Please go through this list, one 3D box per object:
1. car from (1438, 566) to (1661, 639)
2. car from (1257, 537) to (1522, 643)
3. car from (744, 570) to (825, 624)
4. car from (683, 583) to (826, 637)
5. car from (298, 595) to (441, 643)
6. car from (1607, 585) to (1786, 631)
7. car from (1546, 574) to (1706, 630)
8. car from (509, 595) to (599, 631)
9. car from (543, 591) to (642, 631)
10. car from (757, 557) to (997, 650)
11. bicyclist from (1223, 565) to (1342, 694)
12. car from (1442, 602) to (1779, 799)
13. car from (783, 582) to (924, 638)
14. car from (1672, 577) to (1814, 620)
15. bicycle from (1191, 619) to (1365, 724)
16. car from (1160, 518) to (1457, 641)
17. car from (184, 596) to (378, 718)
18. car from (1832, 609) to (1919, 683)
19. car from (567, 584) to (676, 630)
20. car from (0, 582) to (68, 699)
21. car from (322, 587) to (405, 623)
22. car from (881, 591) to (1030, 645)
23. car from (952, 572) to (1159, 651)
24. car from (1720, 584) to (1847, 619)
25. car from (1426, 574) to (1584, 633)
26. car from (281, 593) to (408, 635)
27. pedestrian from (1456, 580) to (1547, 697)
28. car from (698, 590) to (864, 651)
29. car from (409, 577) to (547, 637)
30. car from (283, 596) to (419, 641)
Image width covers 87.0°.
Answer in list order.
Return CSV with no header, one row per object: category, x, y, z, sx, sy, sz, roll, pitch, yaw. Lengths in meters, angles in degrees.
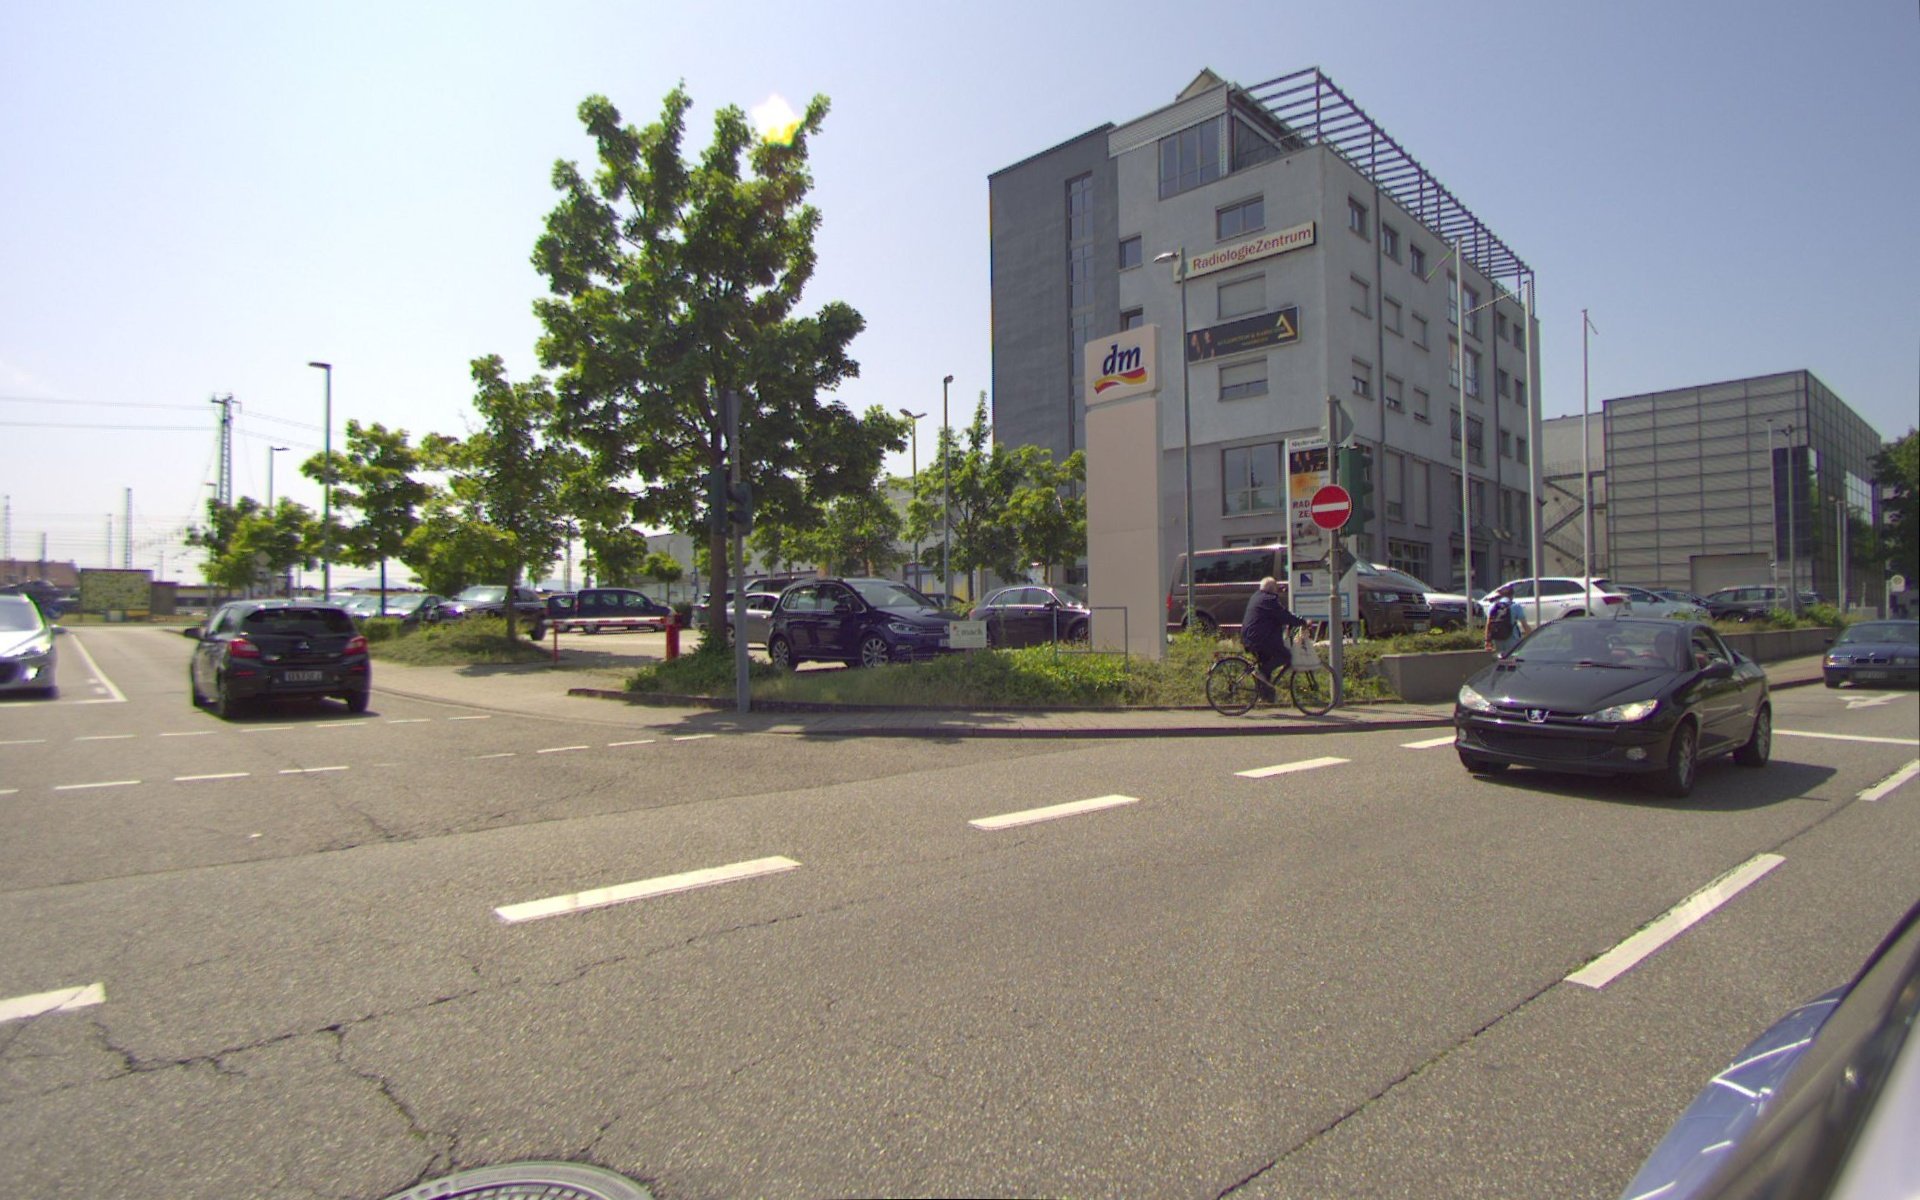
car,14.880,0.098,25.737,2.062,1.630,4.465,-1,-2,-44
car,8.505,-0.135,20.395,1.964,1.721,4.417,-1,-3,-39
car,-7.641,-0.100,43.920,3.358,2.222,1.675,0,-3,-13
car,-7.243,0.364,35.639,4.648,1.734,2.003,-1,-2,-22
car,-18.062,0.543,31.013,3.541,1.371,1.750,0,0,-41
car,25.393,0.304,35.032,1.770,1.399,4.749,0,-2,-44
car,20.542,0.088,31.274,3.975,1.505,1.735,-3,-2,37
car,-19.293,0.593,48.213,3.916,1.616,1.771,0,0,-22
car,-15.843,0.458,43.661,3.916,1.661,1.725,0,0,-22
car,-1.464,0.062,16.741,3.988,1.356,1.833,-1,0,45
bicyclist,3.906,0.348,12.299,1.068,1.483,0.778,-1,-2,-18
car,5.862,0.722,8.989,3.438,1.373,1.640,0,0,-41
car,-3.315,0.282,31.408,4.104,1.620,1.676,-1,0,-16
car,30.861,-0.038,39.986,1.728,1.505,4.132,-1,-2,-41
bicycle,3.848,0.836,12.262,1.867,1.147,0.761,-1,-2,-18
car,6.300,-0.258,18.783,2.144,1.822,4.700,0,-4,-40
car,-9.173,0.669,13.575,1.594,1.419,3.422,0,-1,-44
car,19.365,0.889,20.677,3.886,1.341,1.710,-1,-2,-40
car,-13.816,0.320,41.412,4.104,1.812,1.676,1,-3,-18
car,-14.981,0.557,15.565,1.776,1.638,4.256,0,0,-40
car,-25.423,0.185,43.148,2.920,1.485,1.429,0,0,-35
car,-0.142,0.495,29.847,3.918,1.505,2.003,0,0,-26
car,1.766,0.207,19.625,1.726,1.356,3.876,0,0,-42
car,36.708,0.076,45.190,1.728,1.505,4.133,-1,0,-41
car,16.717,0.160,31.367,1.875,1.629,4.528,-2,-2,-9
car,-21.308,0.461,35.096,3.541,1.371,1.750,0,0,-41
pedestrian,8.072,0.558,15.094,0.988,1.646,0.829,-2,-1,-40
car,-4.513,0.464,25.419,3.968,1.416,1.795,0,0,32
car,-14.111,0.196,29.961,1.963,1.661,4.345,0,0,1
car,-19.649,0.558,32.719,3.541,1.371,1.750,0,0,-41
